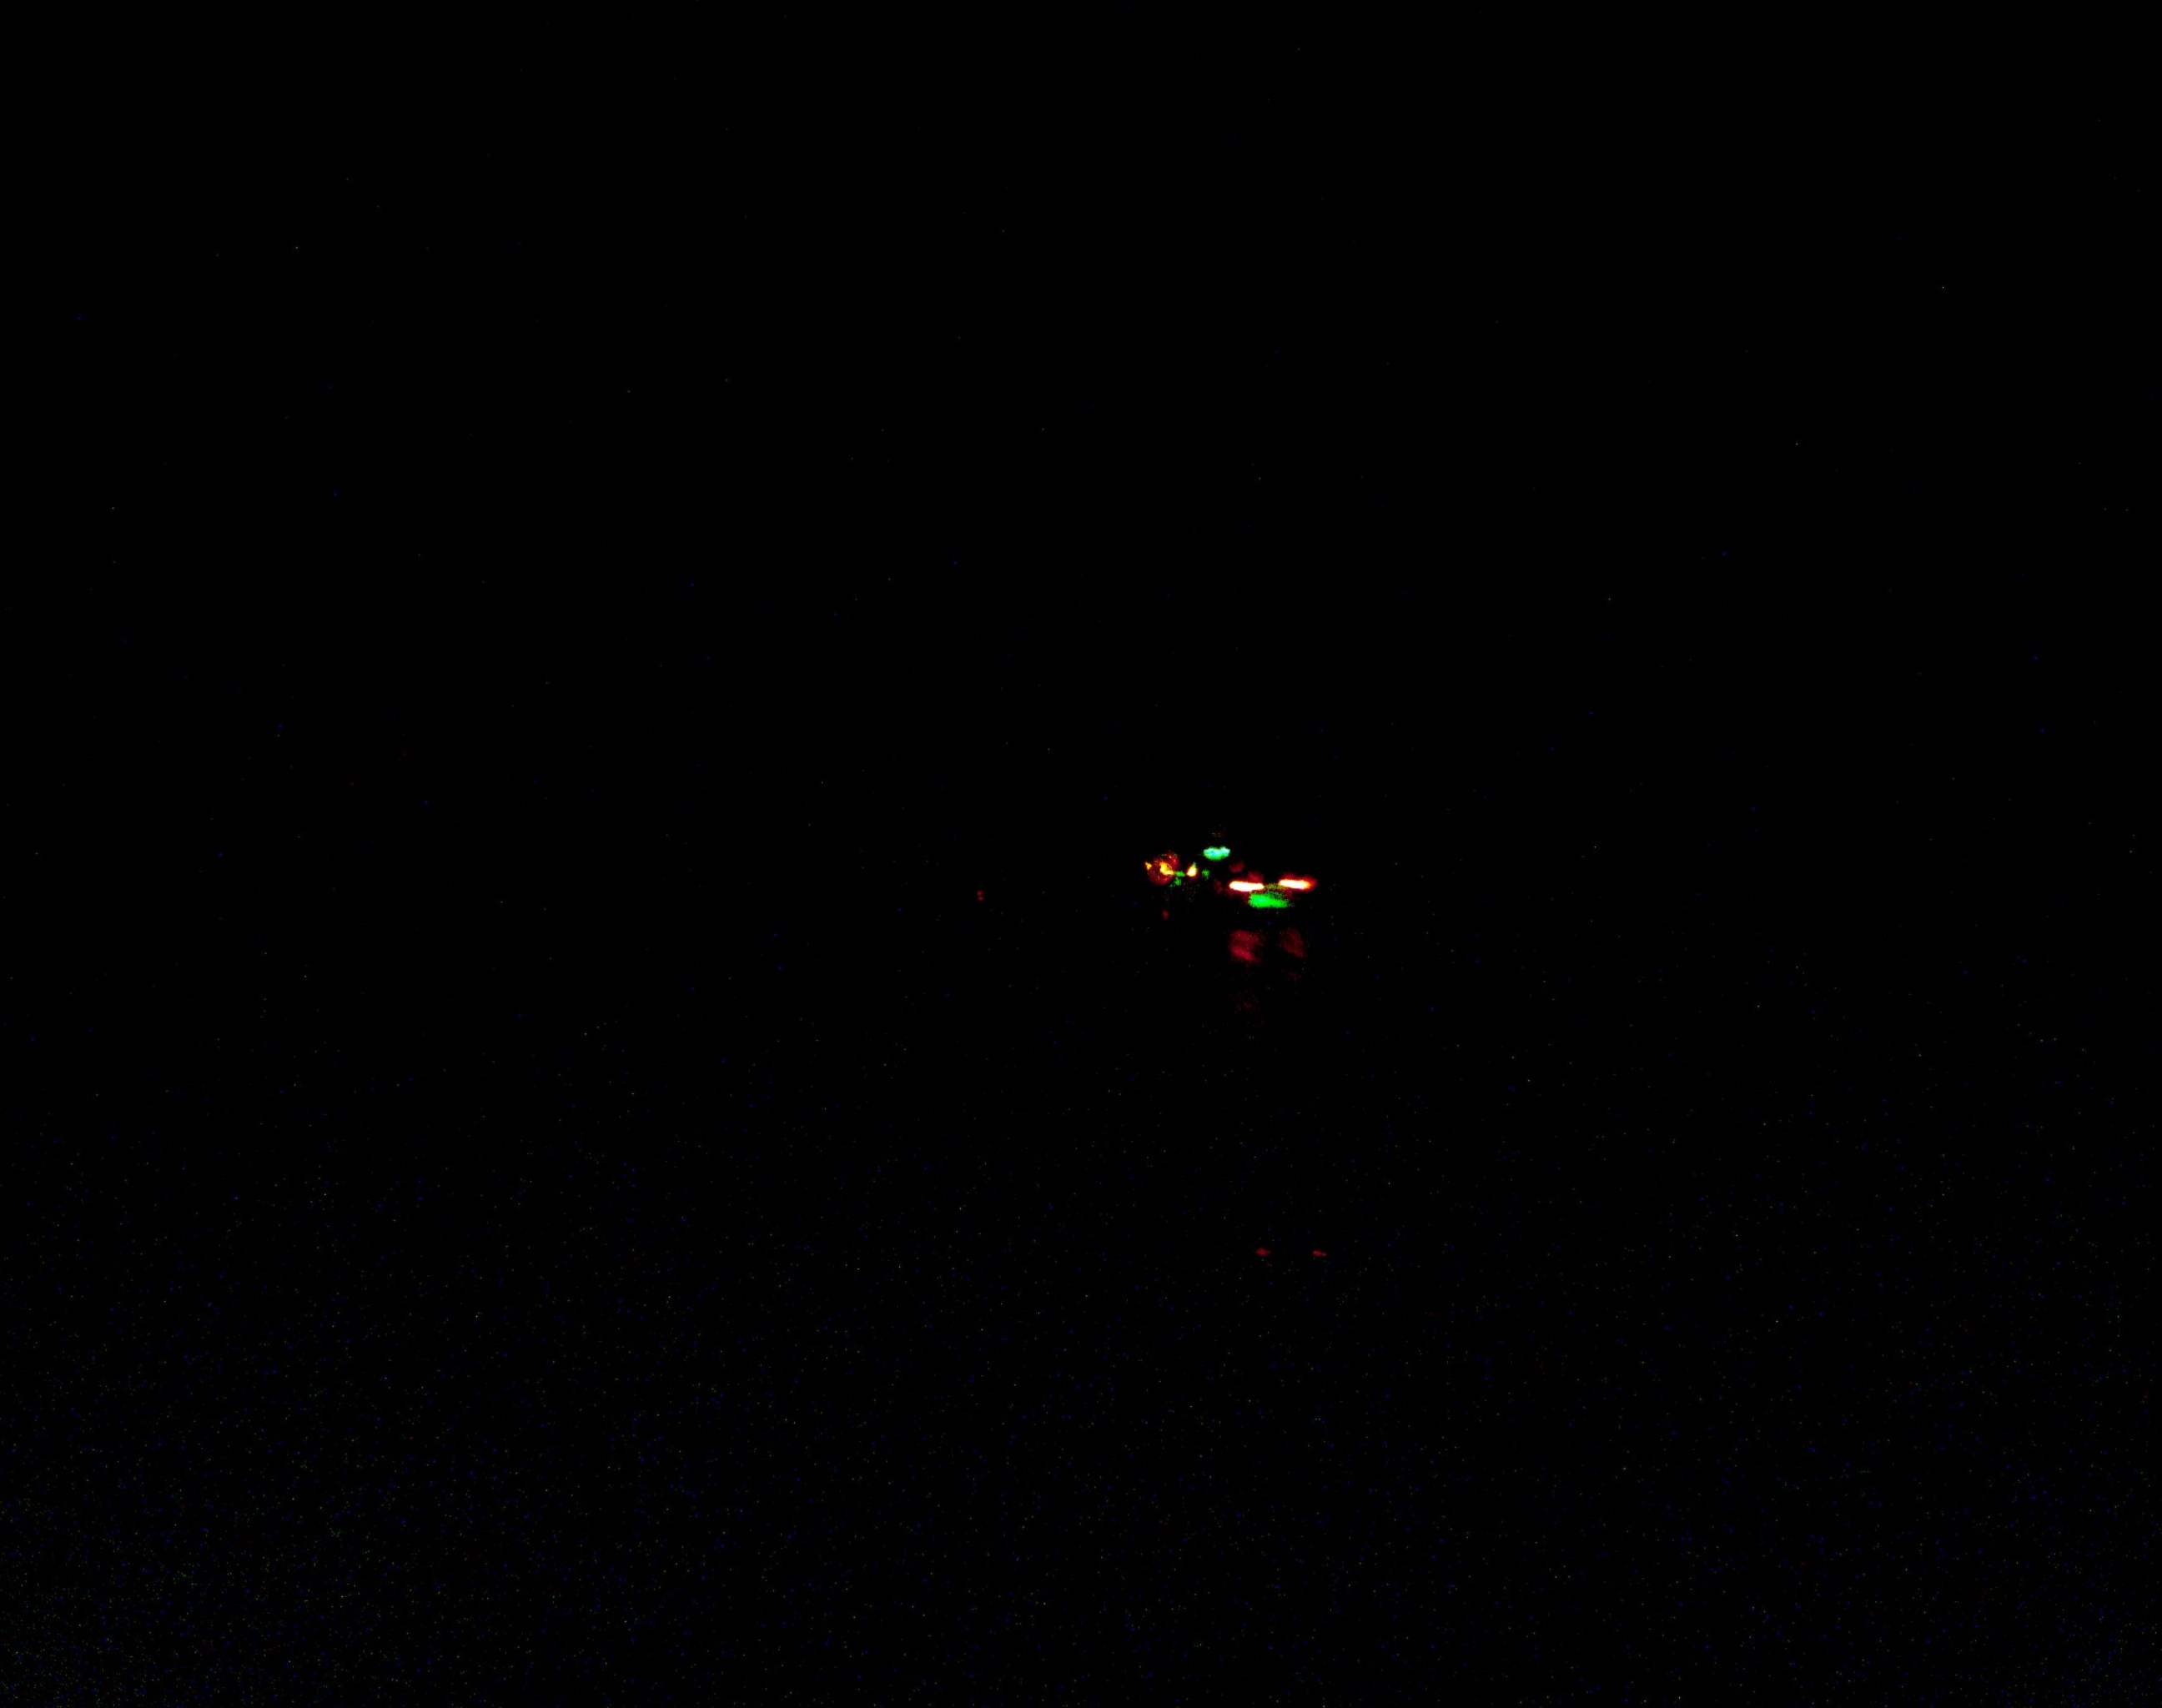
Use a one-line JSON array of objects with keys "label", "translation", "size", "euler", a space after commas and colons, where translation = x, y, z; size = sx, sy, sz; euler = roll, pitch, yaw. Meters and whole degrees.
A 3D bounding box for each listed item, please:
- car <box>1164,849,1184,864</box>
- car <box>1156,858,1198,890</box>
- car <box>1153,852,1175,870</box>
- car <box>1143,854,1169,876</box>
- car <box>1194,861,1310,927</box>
[{"label": "car", "translation": [10.138, 0.215, 82.425], "size": [1.774, 1.475, 4.384], "euler": [-1, 1, 12]}, {"label": "car", "translation": [4.787, 0.975, 38.335], "size": [1.775, 1.381, 4.233], "euler": [-2, 1, 3]}, {"label": "car", "translation": [7.171, 0.597, 65.771], "size": [1.775, 1.381, 4.114], "euler": [-2, 1, 6]}, {"label": "car", "translation": [5.435, 0.773, 54.642], "size": [1.775, 1.381, 4.234], "euler": [-1, 1, 6]}, {"label": "car", "translation": [4.160, 0.917, 19.097], "size": [1.776, 1.381, 4.034], "euler": [-2, 1, -3]}]
